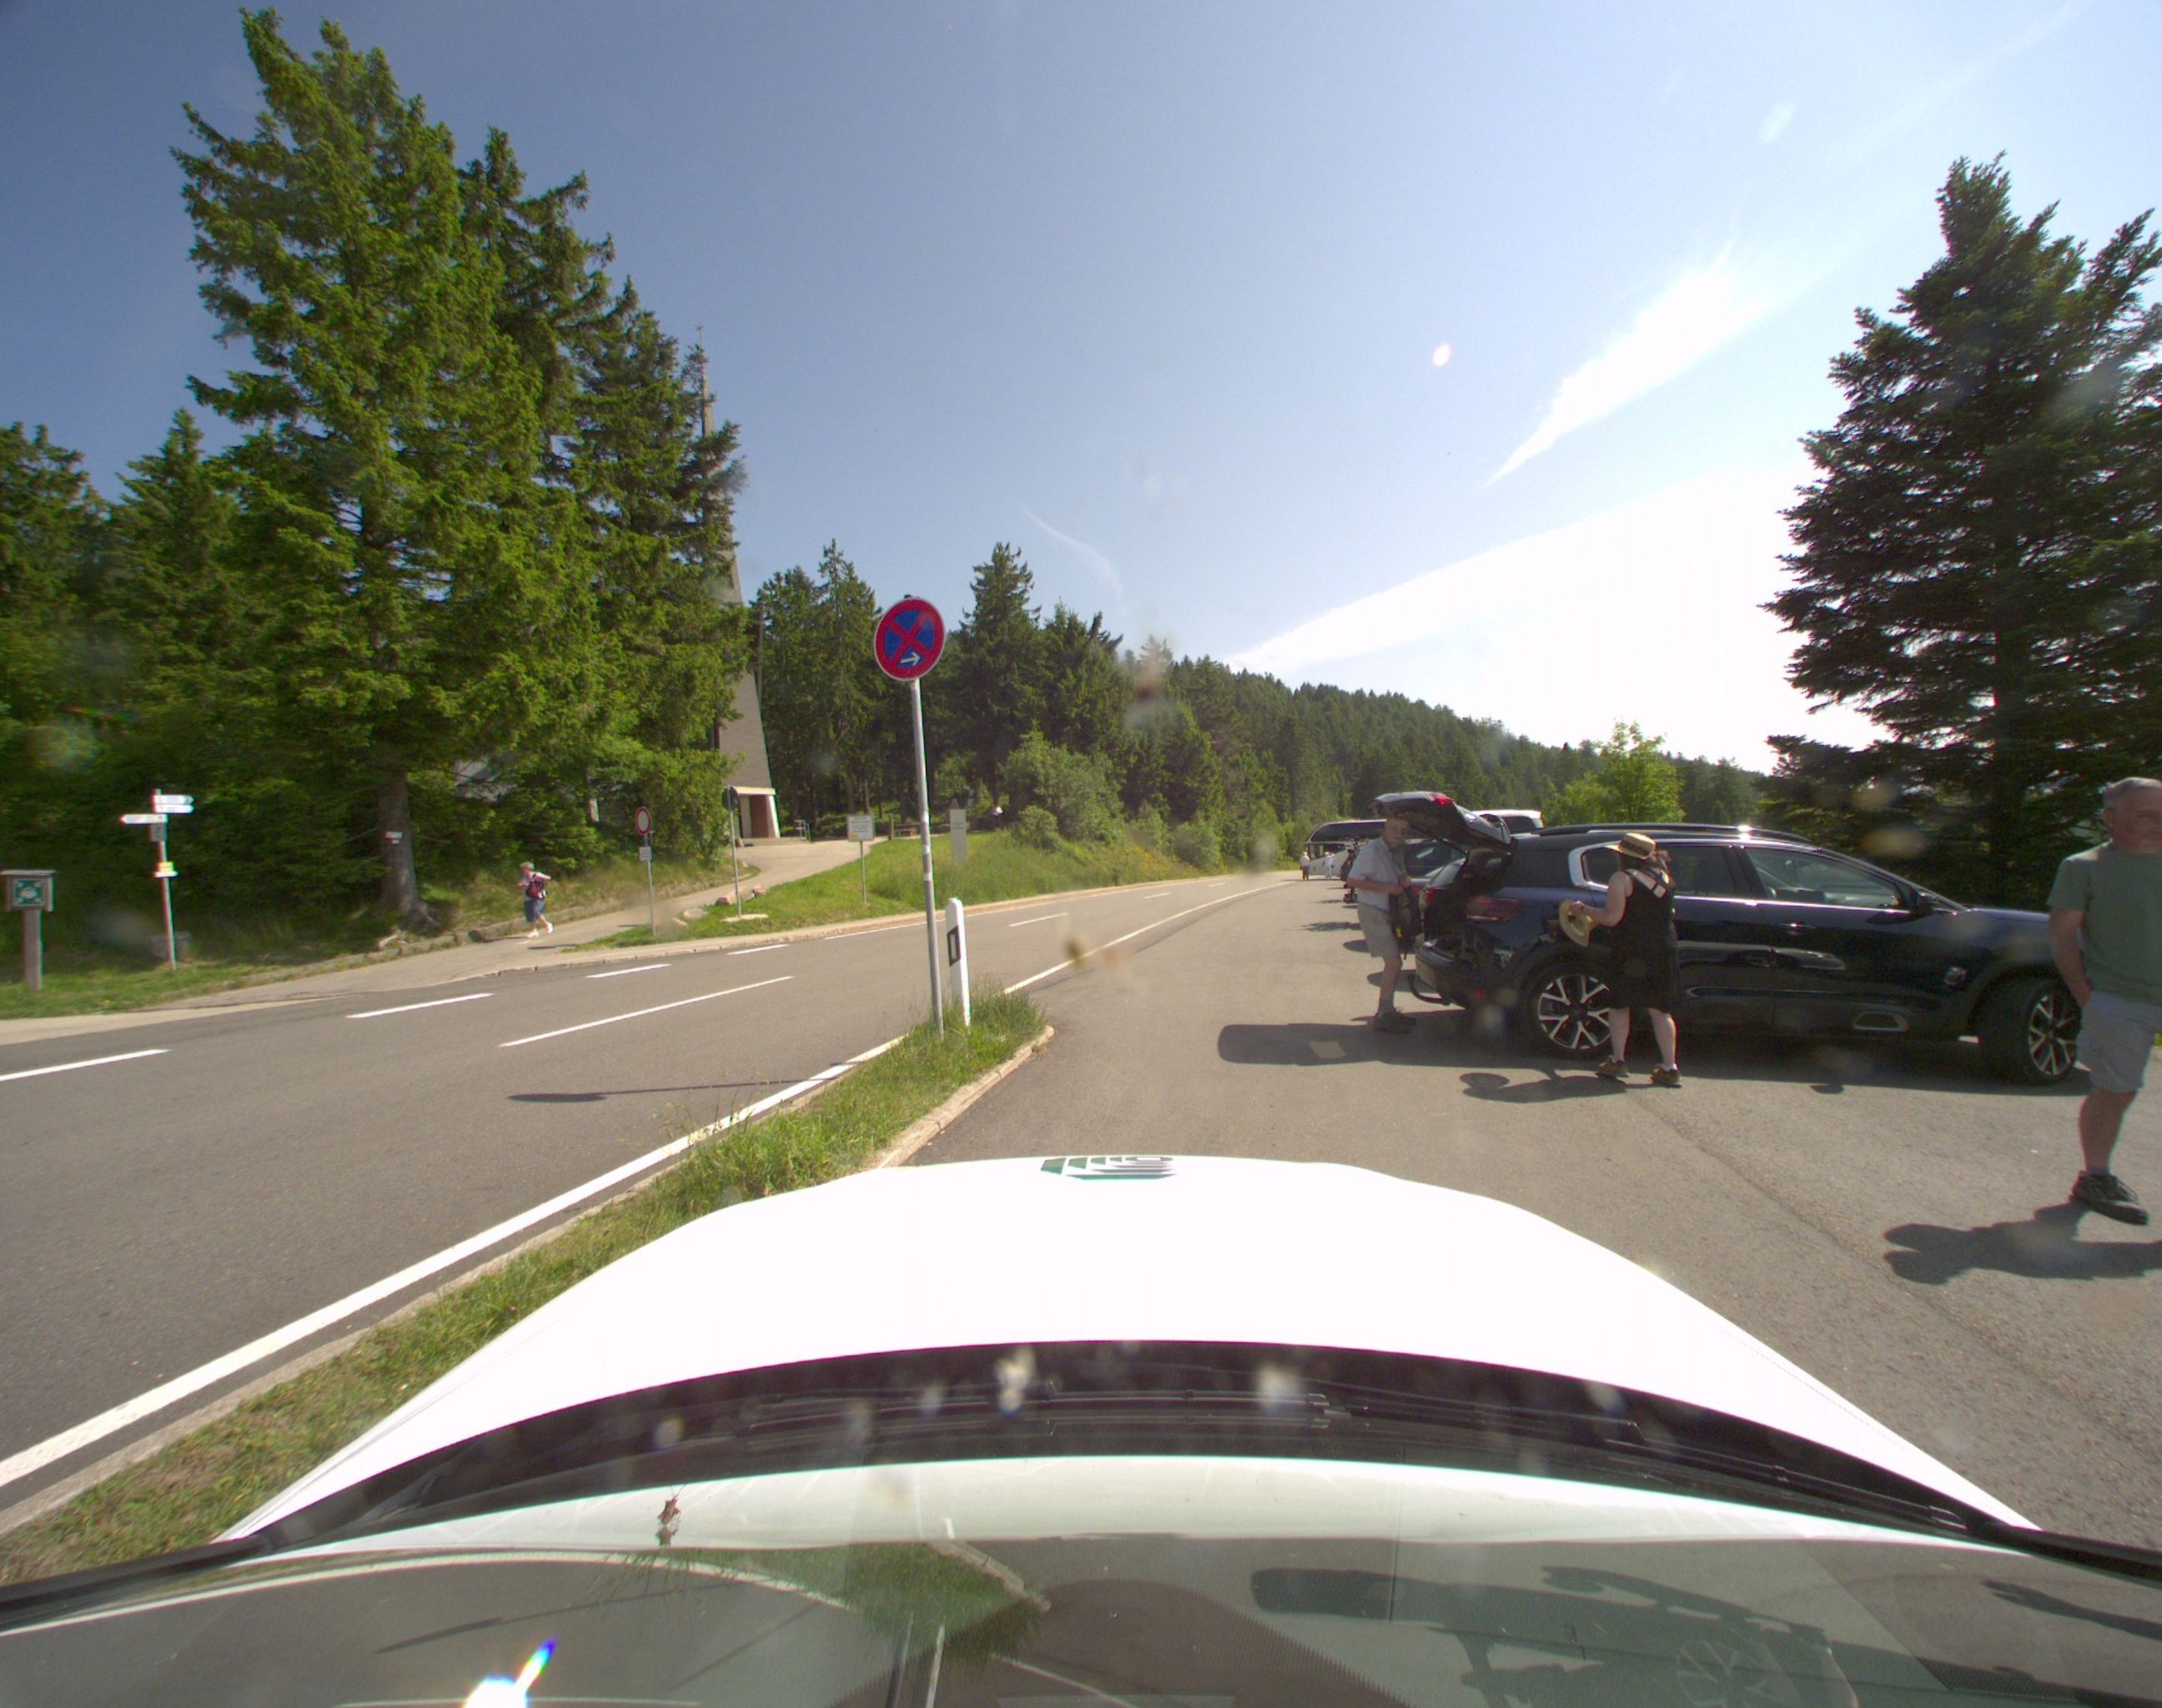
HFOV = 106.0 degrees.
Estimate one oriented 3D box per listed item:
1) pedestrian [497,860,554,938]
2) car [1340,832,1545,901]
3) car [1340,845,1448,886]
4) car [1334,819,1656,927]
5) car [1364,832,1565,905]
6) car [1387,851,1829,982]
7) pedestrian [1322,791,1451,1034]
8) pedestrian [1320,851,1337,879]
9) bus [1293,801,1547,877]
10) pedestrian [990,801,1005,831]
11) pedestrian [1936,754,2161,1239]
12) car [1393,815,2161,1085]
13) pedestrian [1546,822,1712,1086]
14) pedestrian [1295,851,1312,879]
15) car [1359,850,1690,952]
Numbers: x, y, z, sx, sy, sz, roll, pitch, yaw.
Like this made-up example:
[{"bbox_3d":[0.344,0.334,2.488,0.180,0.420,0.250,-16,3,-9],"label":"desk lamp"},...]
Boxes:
[{"bbox_3d":[-12.433,1.003,18.249,0.715,1.681,0.685,-3,-1,11],"label":"pedestrian"},{"bbox_3d":[9.922,0.359,22.851,4.994,1.651,2.057,-3,-1,17],"label":"car"},{"bbox_3d":[12.609,0.479,33.066,3.956,1.449,1.869,-3,-1,17],"label":"car"},{"bbox_3d":[7.262,0.373,14.878,4.908,1.695,1.954,-2,-1,19],"label":"car"},{"bbox_3d":[9.275,0.363,20.106,4.210,1.554,1.846,-3,-1,17],"label":"car"},{"bbox_3d":[5.919,0.656,9.616,4.058,1.376,1.706,0,0,8],"label":"car"},{"bbox_3d":[2.545,0.435,6.776,0.762,1.870,0.728,-3,3,-43],"label":"pedestrian"},{"bbox_3d":[14.289,0.616,47.078,0.763,1.585,0.777,-3,-1,24],"label":"pedestrian"},{"bbox_3d":[19.147,-0.713,46.830,12.970,3.532,3.062,-3,-1,27],"label":"bus"},{"bbox_3d":[-5.481,-2.476,53.314,0.675,1.878,0.544,-3,-1,20],"label":"pedestrian"},{"bbox_3d":[4.221,0.528,3.341,0.739,1.800,0.740,-1,-1,25],"label":"pedestrian"},{"bbox_3d":[4.875,0.582,6.340,4.315,1.626,1.876,1,0,11],"label":"car"},{"bbox_3d":[3.529,0.614,5.290,0.710,1.613,0.537,0,-1,6],"label":"pedestrian"},{"bbox_3d":[12.996,0.638,47.516,0.763,1.585,0.777,-3,-1,24],"label":"pedestrian"},{"bbox_3d":[6.417,0.638,12.239,4.055,1.376,1.707,0,0,10],"label":"car"}]
